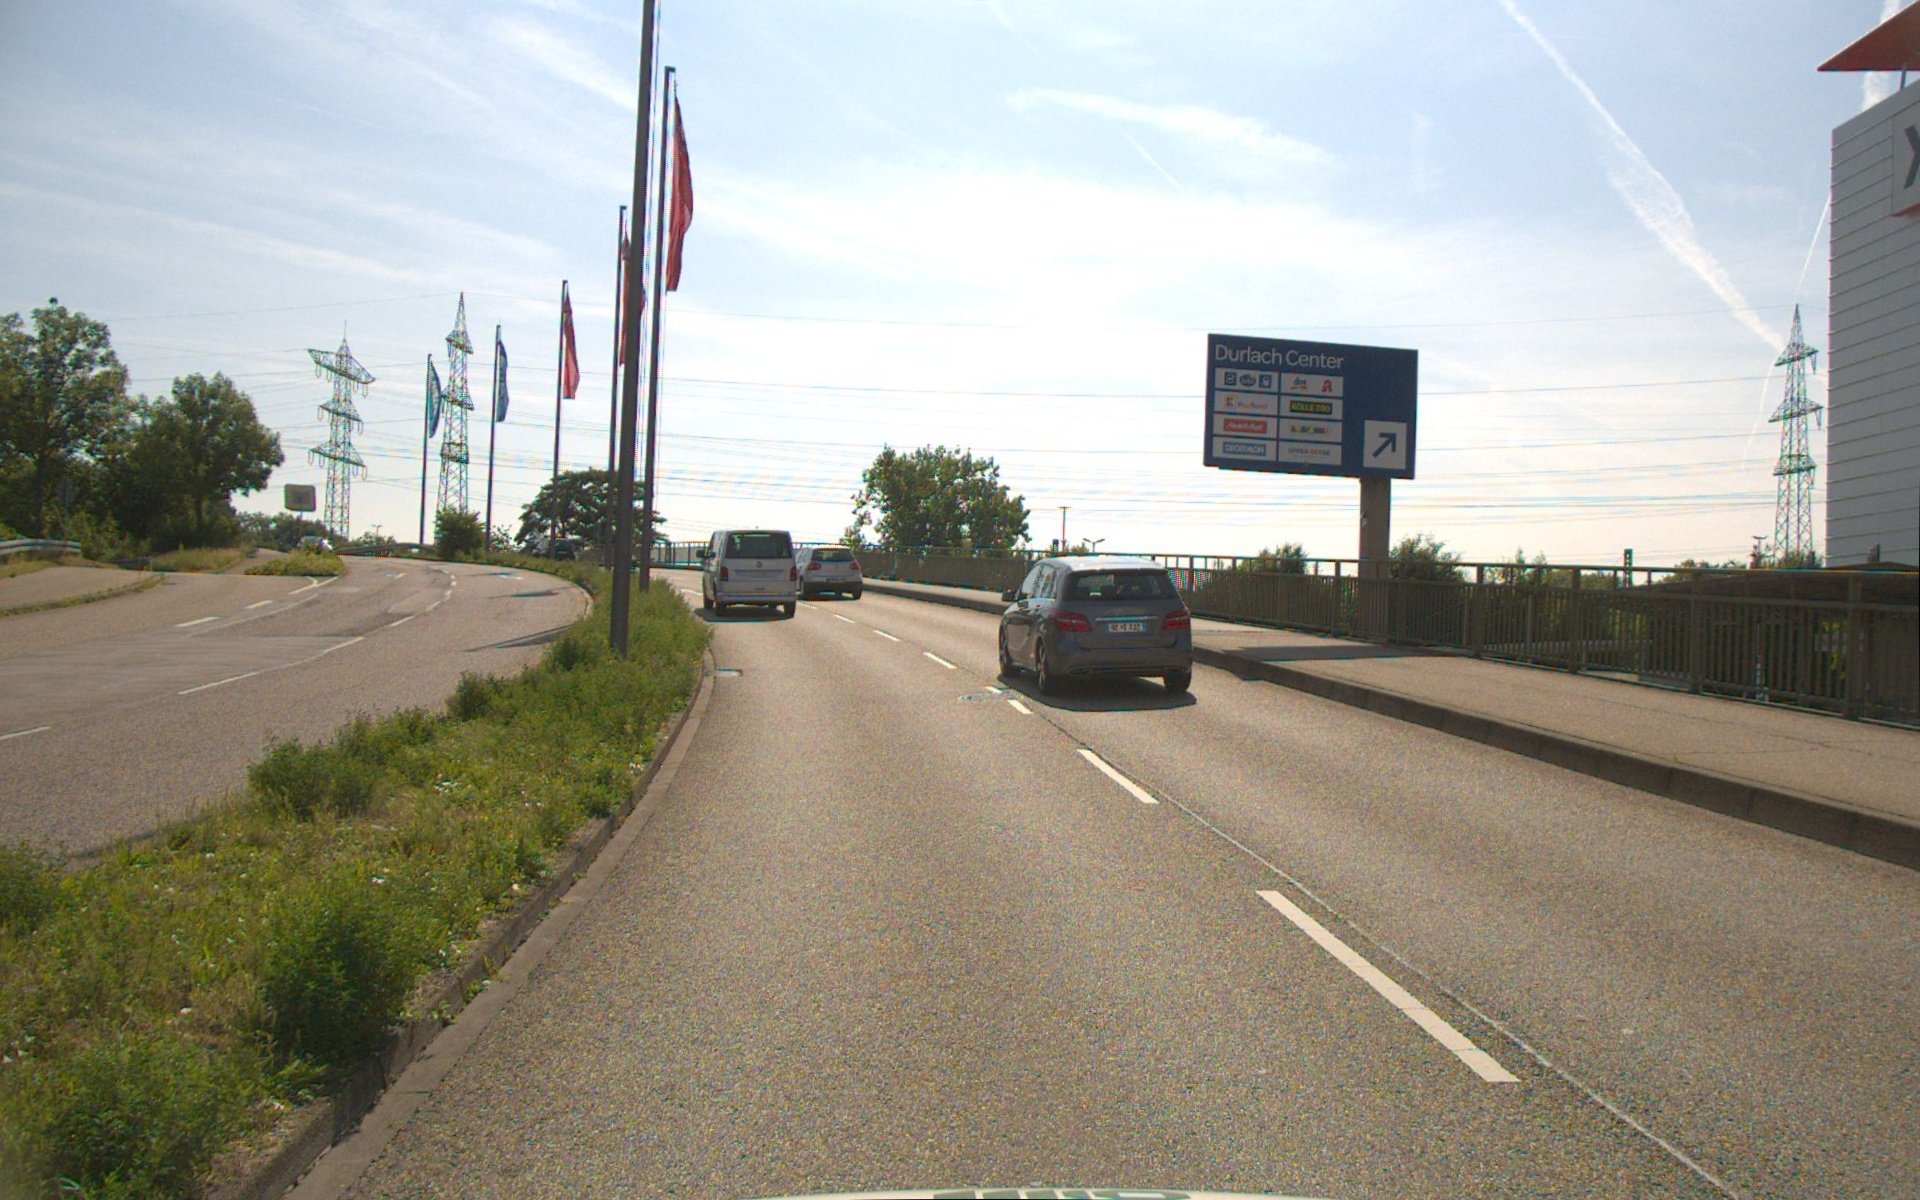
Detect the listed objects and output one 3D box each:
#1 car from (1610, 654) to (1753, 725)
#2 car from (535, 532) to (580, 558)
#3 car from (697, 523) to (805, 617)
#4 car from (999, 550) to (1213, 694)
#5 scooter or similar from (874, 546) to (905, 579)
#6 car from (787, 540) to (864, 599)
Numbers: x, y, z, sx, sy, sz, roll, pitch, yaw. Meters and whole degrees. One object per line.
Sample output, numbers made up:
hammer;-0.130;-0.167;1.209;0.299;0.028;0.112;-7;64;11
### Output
car;33.068;4.097;75.866;5.888;2.978;2.125;3;-2;-13
car;-22.070;-3.043;90.654;1.751;1.354;3.712;0;3;-25
car;-4.932;-0.754;38.659;2.005;2.048;3.986;-2;3;-14
car;1.663;0.224;20.261;1.821;1.556;4.138;1;1;-6
scooter or similar;-2.534;-1.356;59.460;0.505;1.162;1.469;2;1;-26
car;-3.926;-0.919;47.701;1.822;1.555;4.135;-2;3;-10
